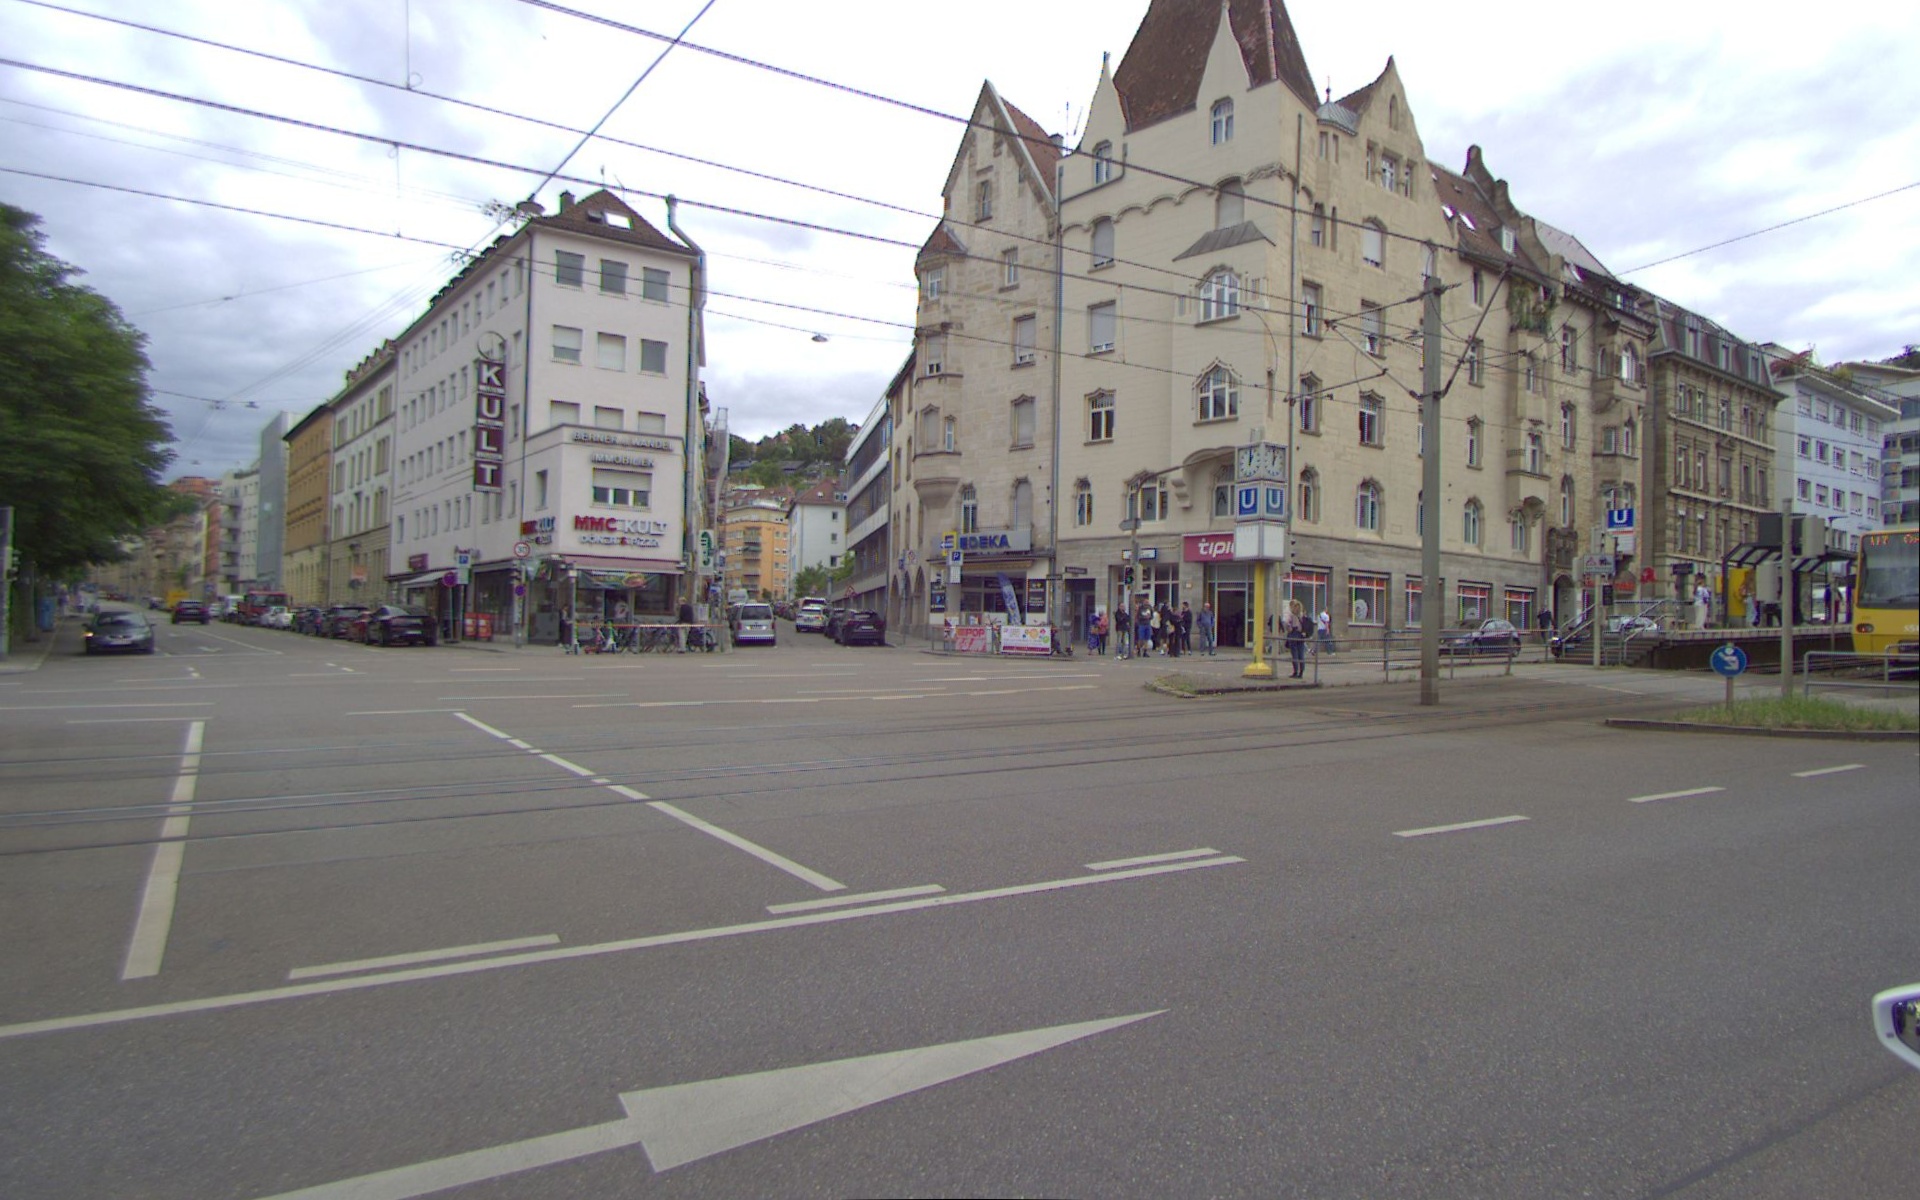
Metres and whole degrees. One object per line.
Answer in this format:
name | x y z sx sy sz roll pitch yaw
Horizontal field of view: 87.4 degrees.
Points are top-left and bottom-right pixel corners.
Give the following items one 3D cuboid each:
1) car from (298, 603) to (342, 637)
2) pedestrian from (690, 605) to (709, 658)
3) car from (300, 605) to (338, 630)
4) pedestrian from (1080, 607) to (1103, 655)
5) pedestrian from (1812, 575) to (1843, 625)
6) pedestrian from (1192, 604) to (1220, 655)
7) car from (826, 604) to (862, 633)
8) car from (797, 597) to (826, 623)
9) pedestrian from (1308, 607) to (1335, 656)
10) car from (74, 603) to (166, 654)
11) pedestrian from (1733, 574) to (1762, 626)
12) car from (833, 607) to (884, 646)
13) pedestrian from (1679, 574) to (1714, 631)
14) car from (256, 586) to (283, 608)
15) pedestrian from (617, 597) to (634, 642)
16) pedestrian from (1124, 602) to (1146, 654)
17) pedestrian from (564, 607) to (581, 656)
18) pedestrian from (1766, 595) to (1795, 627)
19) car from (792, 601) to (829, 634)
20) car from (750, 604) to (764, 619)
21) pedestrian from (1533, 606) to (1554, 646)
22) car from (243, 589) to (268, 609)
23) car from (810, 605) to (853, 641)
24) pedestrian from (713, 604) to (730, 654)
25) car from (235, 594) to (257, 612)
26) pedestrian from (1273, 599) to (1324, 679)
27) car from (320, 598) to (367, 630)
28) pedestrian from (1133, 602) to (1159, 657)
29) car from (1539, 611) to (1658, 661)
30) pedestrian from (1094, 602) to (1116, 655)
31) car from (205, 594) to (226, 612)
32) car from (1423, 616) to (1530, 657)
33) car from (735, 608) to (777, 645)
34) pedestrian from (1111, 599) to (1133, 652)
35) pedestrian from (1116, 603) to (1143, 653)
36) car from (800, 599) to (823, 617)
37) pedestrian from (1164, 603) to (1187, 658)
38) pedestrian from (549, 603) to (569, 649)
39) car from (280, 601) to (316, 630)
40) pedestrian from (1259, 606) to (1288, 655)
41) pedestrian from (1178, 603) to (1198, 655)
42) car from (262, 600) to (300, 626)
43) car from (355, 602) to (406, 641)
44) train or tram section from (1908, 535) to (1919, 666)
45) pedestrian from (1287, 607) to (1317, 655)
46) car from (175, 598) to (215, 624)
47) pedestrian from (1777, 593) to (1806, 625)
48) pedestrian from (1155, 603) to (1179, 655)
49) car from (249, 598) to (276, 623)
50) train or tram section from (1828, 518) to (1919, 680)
car | -34.746 1.094 54.513 1.635 1.734 3.611 3 -2 -37
pedestrian | -8.984 1.071 34.674 0.568 1.803 0.509 1 -1 -20
car | -38.129 1.034 59.698 1.635 1.463 3.611 1 -1 -37
pedestrian | 4.487 1.052 34.311 0.505 1.603 0.572 1 -1 -29
pedestrian | 31.580 0.021 36.566 0.837 1.786 0.623 1 -1 -31
pedestrian | 8.380 1.003 34.263 0.679 1.699 0.673 1 -1 -14
car | -7.405 1.201 63.826 1.611 1.768 3.770 0 -2 -17
car | -10.933 0.762 73.703 1.610 1.768 3.771 0 -2 -16
pedestrian | 13.042 1.136 36.213 0.701 1.728 0.601 1 -1 -26
car | -28.592 0.935 34.170 3.944 1.550 1.940 1 0 43
pedestrian | 26.256 0.005 33.490 0.684 1.734 0.630 0 0 -41
car | -4.665 1.237 45.620 1.611 1.706 3.770 0 -2 -17
pedestrian | 22.932 0.081 31.271 0.655 1.734 0.684 0 0 -33
car | -56.018 -0.190 81.470 1.635 1.734 3.611 1 -1 -37
pedestrian | -13.336 0.771 40.033 0.589 1.803 0.509 1 -1 -20
pedestrian | 6.137 0.964 35.171 0.570 1.803 0.507 1 -1 -30
pedestrian | -14.576 1.177 37.812 0.568 1.803 0.509 1 -1 -20
pedestrian | 28.855 0.379 35.331 0.682 1.122 0.632 0 0 -32
car | -8.612 1.062 57.912 2.018 1.768 4.662 0 -2 -9
car | -23.117 1.310 114.342 1.608 1.599 3.774 0 -1 -12
pedestrian | 26.866 1.185 46.237 0.616 1.786 0.847 0 -1 16
car | -62.393 -0.083 88.947 1.635 1.734 3.611 1 -1 -37
car | -6.749 1.221 52.501 1.611 1.768 3.770 0 -2 -17
pedestrian | -8.670 1.038 36.471 0.502 1.803 0.576 1 0 -6
car | -68.606 0.286 96.528 1.635 1.734 3.611 1 -1 -37
pedestrian | 7.406 0.844 22.015 0.796 1.728 0.877 1 -1 -3
car | -30.666 0.697 49.898 1.635 1.553 3.611 1 -1 -37
pedestrian | 6.160 0.979 33.348 0.586 1.803 0.709 1 -1 -16
car | 22.020 1.227 34.620 3.954 1.595 1.898 1 0 -31
pedestrian | 4.979 0.983 34.550 0.505 1.803 0.573 1 -1 -27
car | -73.835 0.296 99.648 1.635 1.734 3.611 1 -1 -37
car | 18.709 1.321 36.374 3.736 1.393 1.625 1 -3 -28
car | -9.172 1.194 44.959 1.724 1.581 4.503 1 -2 -13
pedestrian | 5.629 0.881 34.843 0.569 1.803 0.508 1 -1 -25
pedestrian | 6.240 1.035 36.932 0.808 1.803 0.574 1 -1 -22
car | -14.029 0.773 94.647 1.611 1.599 3.769 0 -1 -17
pedestrian | 7.139 1.005 33.299 0.568 1.803 0.509 1 0 -18
pedestrian | -15.186 0.966 38.003 0.645 1.728 0.779 1 -1 -26
car | -42.054 1.016 63.770 1.635 1.734 3.612 1 -3 -37
pedestrian | 11.232 1.095 35.983 0.645 1.728 0.779 1 -1 -26
pedestrian | 7.905 1.004 34.868 0.565 1.803 0.511 1 0 -1
car | -45.352 0.875 67.068 1.638 1.734 3.605 1 -1 -42
car | -26.899 0.982 46.585 1.635 1.734 3.611 1 -1 -37
train or tram section | 29.198 0.039 27.871 5.687 3.568 2.820 0 1 -32
pedestrian | 12.565 1.135 36.934 0.714 1.728 0.779 1 -1 -26
car | -53.295 0.766 69.928 1.911 1.734 4.439 1 -1 -42
pedestrian | 30.038 0.331 36.277 0.682 1.122 0.632 0 0 -32
pedestrian | 7.246 1.022 35.198 0.654 1.803 0.790 1 -1 -1
car | -49.195 0.742 70.827 1.377 1.763 3.611 1 -1 -37
train or tram section | 24.372 -0.017 24.833 5.687 3.728 2.820 0 1 -32
